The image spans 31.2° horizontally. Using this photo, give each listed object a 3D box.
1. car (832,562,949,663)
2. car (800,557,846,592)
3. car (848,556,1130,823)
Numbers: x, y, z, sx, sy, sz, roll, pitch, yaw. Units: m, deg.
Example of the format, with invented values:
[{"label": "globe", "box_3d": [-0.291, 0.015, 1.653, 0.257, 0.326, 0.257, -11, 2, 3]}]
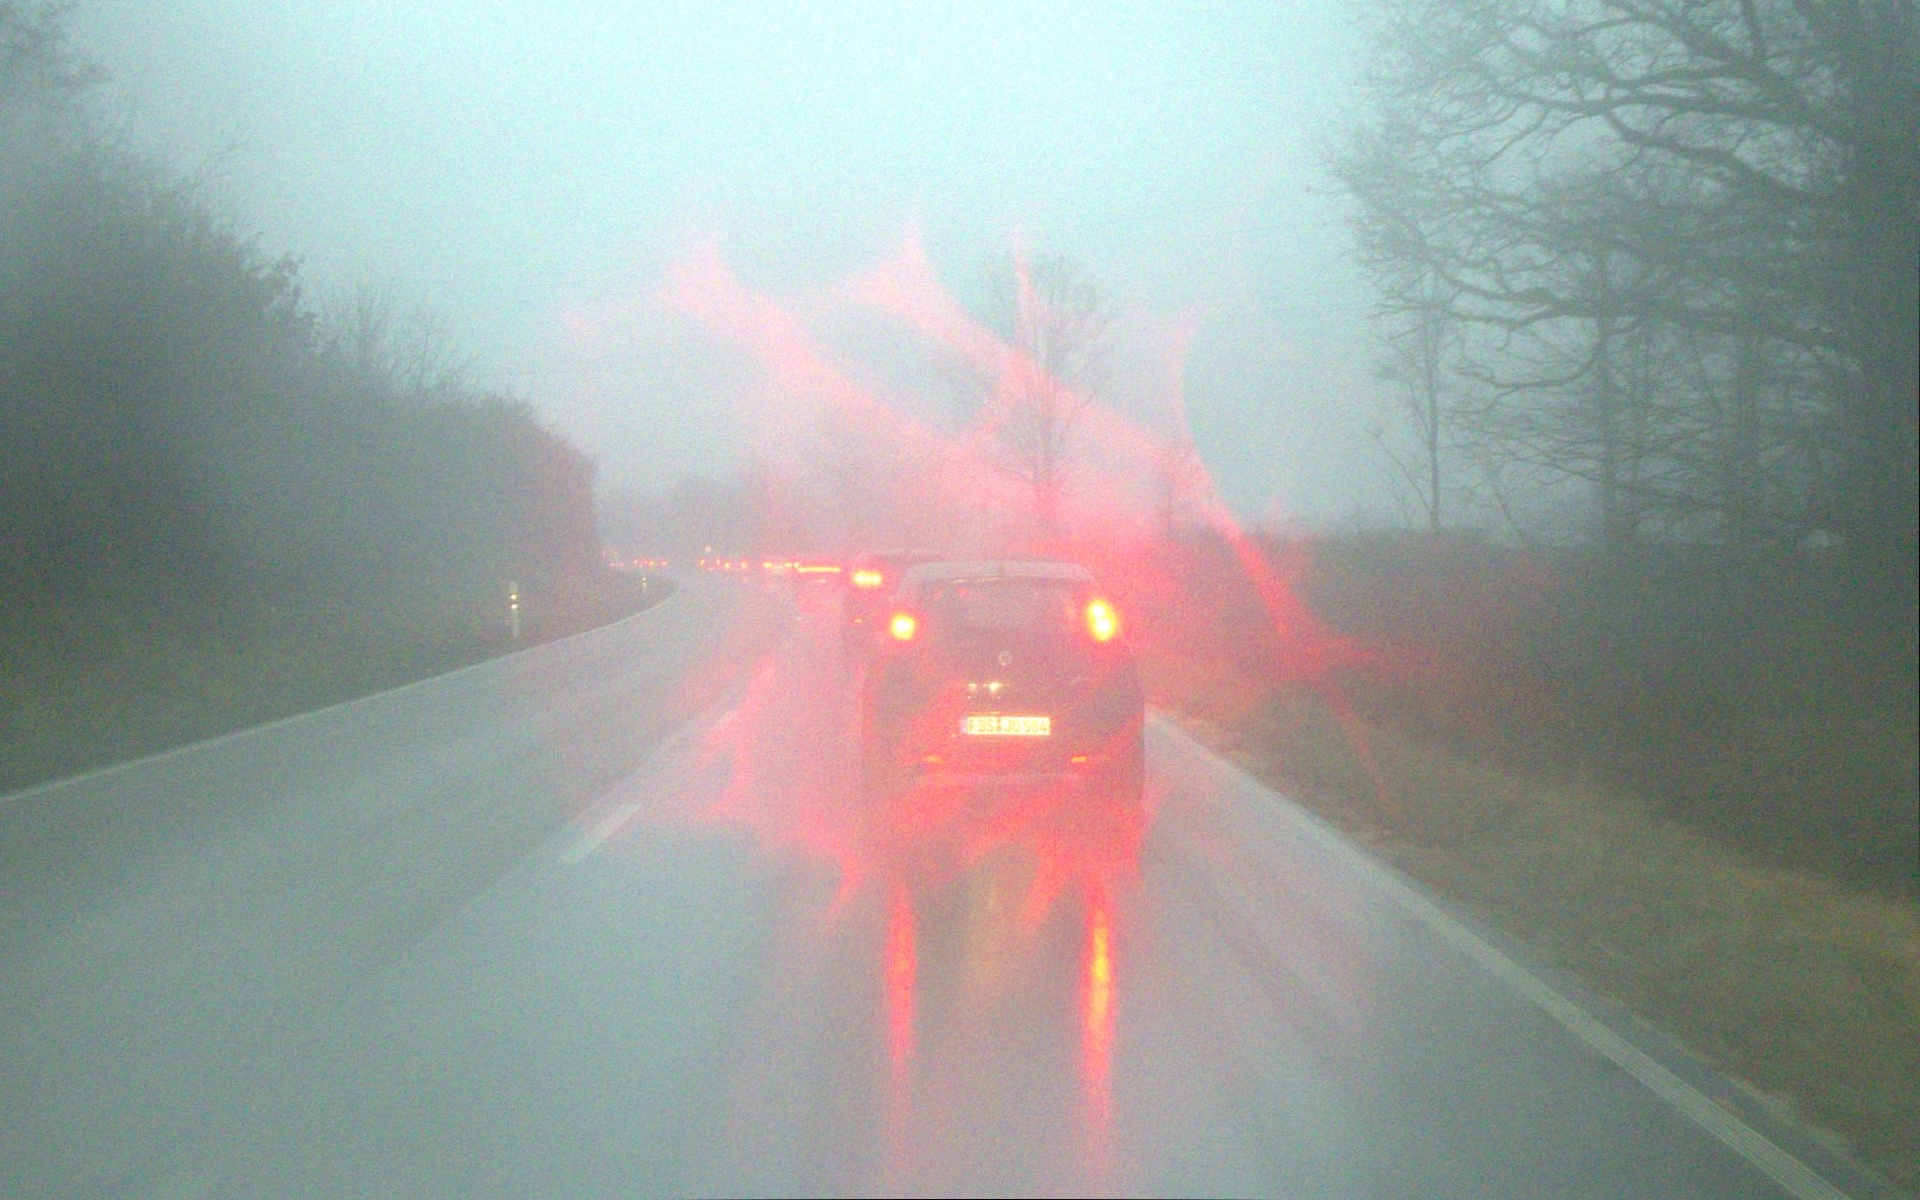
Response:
[{"label": "car", "box_3d": [-0.980, 0.150, 50.006, 1.547, 1.392, 3.869, 1, 1, 1]}, {"label": "car", "box_3d": [-5.505, -1.041, 138.439, 1.547, 1.392, 3.869, 1, 1, 2]}, {"label": "car", "box_3d": [0.176, 0.487, 21.657, 1.602, 1.517, 3.869, 1, 1, 0]}]
